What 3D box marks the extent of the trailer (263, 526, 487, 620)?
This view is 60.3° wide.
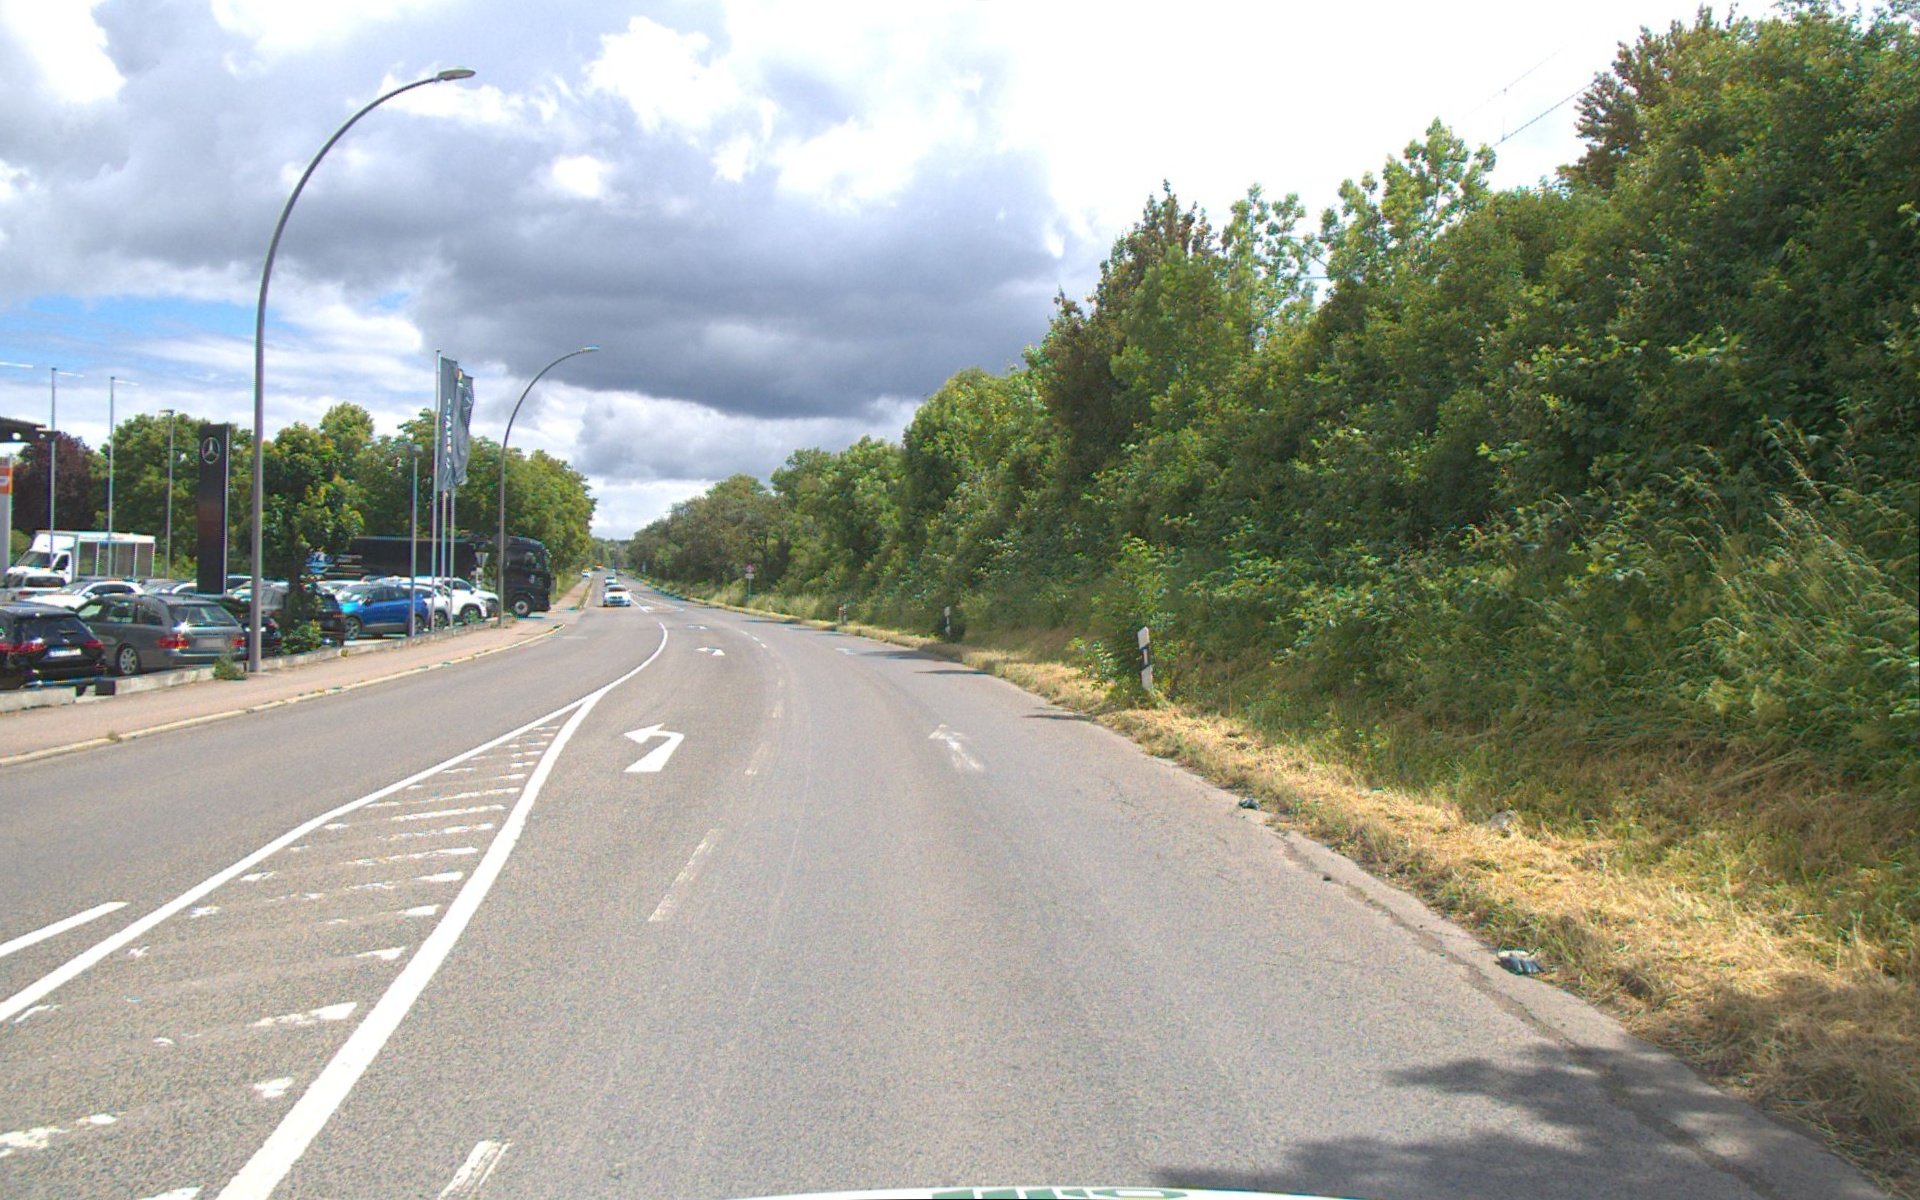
[{"bbox_3d":[-27.141,-1.329,76.916,9.599,4.164,2.803,-1,1,-25],"label":"trailer"}]

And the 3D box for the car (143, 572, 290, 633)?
[{"bbox_3d":[-23.876,0.074,53.259,1.954,1.862,3.996,1,0,26],"label":"car"}]

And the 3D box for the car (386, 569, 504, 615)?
[{"bbox_3d":[-21.387,-0.318,68.734,4.274,1.793,1.971,1,0,-40],"label":"car"}]

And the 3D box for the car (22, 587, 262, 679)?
[{"bbox_3d":[-14.956,0.563,30.219,4.109,1.505,1.794,1,0,26],"label":"car"}]

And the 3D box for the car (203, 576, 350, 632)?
[{"bbox_3d":[-21.464,0.126,52.093,1.954,1.659,3.996,1,0,26],"label":"car"}]

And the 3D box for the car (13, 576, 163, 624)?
[{"bbox_3d":[-28.746,0.002,54.614,1.954,1.480,3.996,1,0,26],"label":"car"}]

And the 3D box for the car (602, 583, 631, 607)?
[{"bbox_3d":[-23.819,-0.352,114.653,1.958,1.564,3.988,1,0,-12],"label":"car"}]

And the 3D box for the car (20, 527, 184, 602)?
[{"bbox_3d":[-41.391,-1.643,80.181,3.133,3.394,8.186,1,0,5],"label":"car"}]

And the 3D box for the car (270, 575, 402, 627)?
[{"bbox_3d":[-21.444,0.045,56.987,1.954,1.682,3.996,1,0,26],"label":"car"}]

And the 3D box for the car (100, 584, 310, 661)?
[{"bbox_3d":[-15.359,0.433,33.620,4.109,1.426,1.658,1,0,26],"label":"car"}]

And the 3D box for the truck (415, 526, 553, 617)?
[{"bbox_3d":[-22.739,-1.383,78.996,6.037,4.164,2.805,-1,1,-24],"label":"truck"}]

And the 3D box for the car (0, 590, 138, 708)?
[{"bbox_3d":[-14.776,0.672,25.137,4.109,1.629,1.979,1,0,26],"label":"car"}]

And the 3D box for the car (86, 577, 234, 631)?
[{"bbox_3d":[-26.196,0.116,54.268,1.954,1.673,3.996,1,0,26],"label":"car"}]

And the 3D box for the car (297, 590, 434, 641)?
[{"bbox_3d":[-18.346,0.462,51.175,1.593,1.501,3.996,1,0,26],"label":"car"}]

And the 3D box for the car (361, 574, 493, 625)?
[{"bbox_3d":[-19.854,-0.004,61.655,4.274,1.793,1.971,1,0,-40],"label":"car"}]
